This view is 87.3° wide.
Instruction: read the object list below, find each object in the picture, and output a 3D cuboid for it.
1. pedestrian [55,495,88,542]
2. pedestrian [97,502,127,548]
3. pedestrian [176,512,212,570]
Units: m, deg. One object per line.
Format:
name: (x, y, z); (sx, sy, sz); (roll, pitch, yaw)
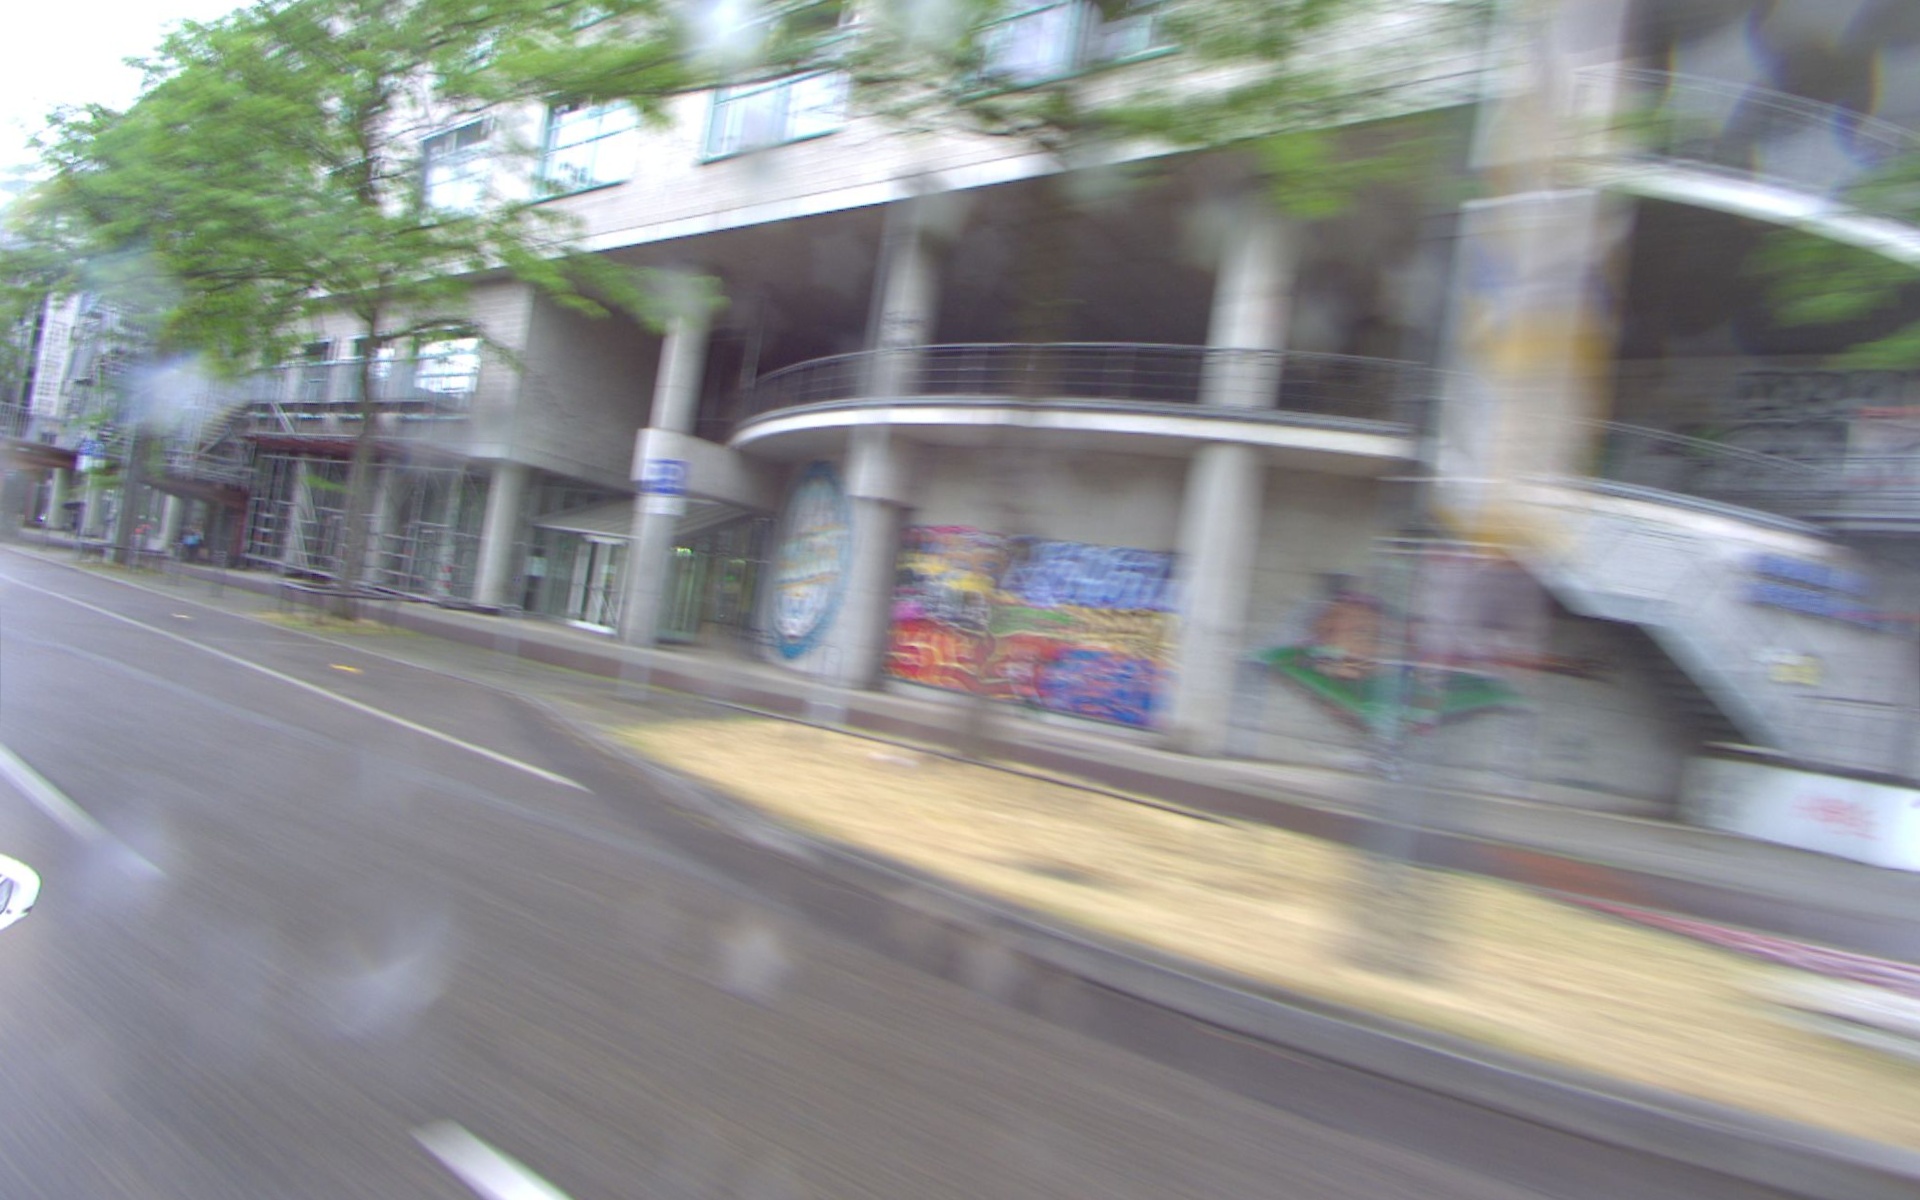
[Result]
pedestrian: (-39.354, -3.587, 44.556); (0.691, 1.943, 0.776); (6, -1, 31)
pedestrian: (-37.979, -3.372, 45.059); (0.693, 1.943, 0.774); (5, -1, 42)
pedestrian: (-26.865, -2.064, 35.280); (0.772, 1.943, 0.694); (7, -1, -41)
